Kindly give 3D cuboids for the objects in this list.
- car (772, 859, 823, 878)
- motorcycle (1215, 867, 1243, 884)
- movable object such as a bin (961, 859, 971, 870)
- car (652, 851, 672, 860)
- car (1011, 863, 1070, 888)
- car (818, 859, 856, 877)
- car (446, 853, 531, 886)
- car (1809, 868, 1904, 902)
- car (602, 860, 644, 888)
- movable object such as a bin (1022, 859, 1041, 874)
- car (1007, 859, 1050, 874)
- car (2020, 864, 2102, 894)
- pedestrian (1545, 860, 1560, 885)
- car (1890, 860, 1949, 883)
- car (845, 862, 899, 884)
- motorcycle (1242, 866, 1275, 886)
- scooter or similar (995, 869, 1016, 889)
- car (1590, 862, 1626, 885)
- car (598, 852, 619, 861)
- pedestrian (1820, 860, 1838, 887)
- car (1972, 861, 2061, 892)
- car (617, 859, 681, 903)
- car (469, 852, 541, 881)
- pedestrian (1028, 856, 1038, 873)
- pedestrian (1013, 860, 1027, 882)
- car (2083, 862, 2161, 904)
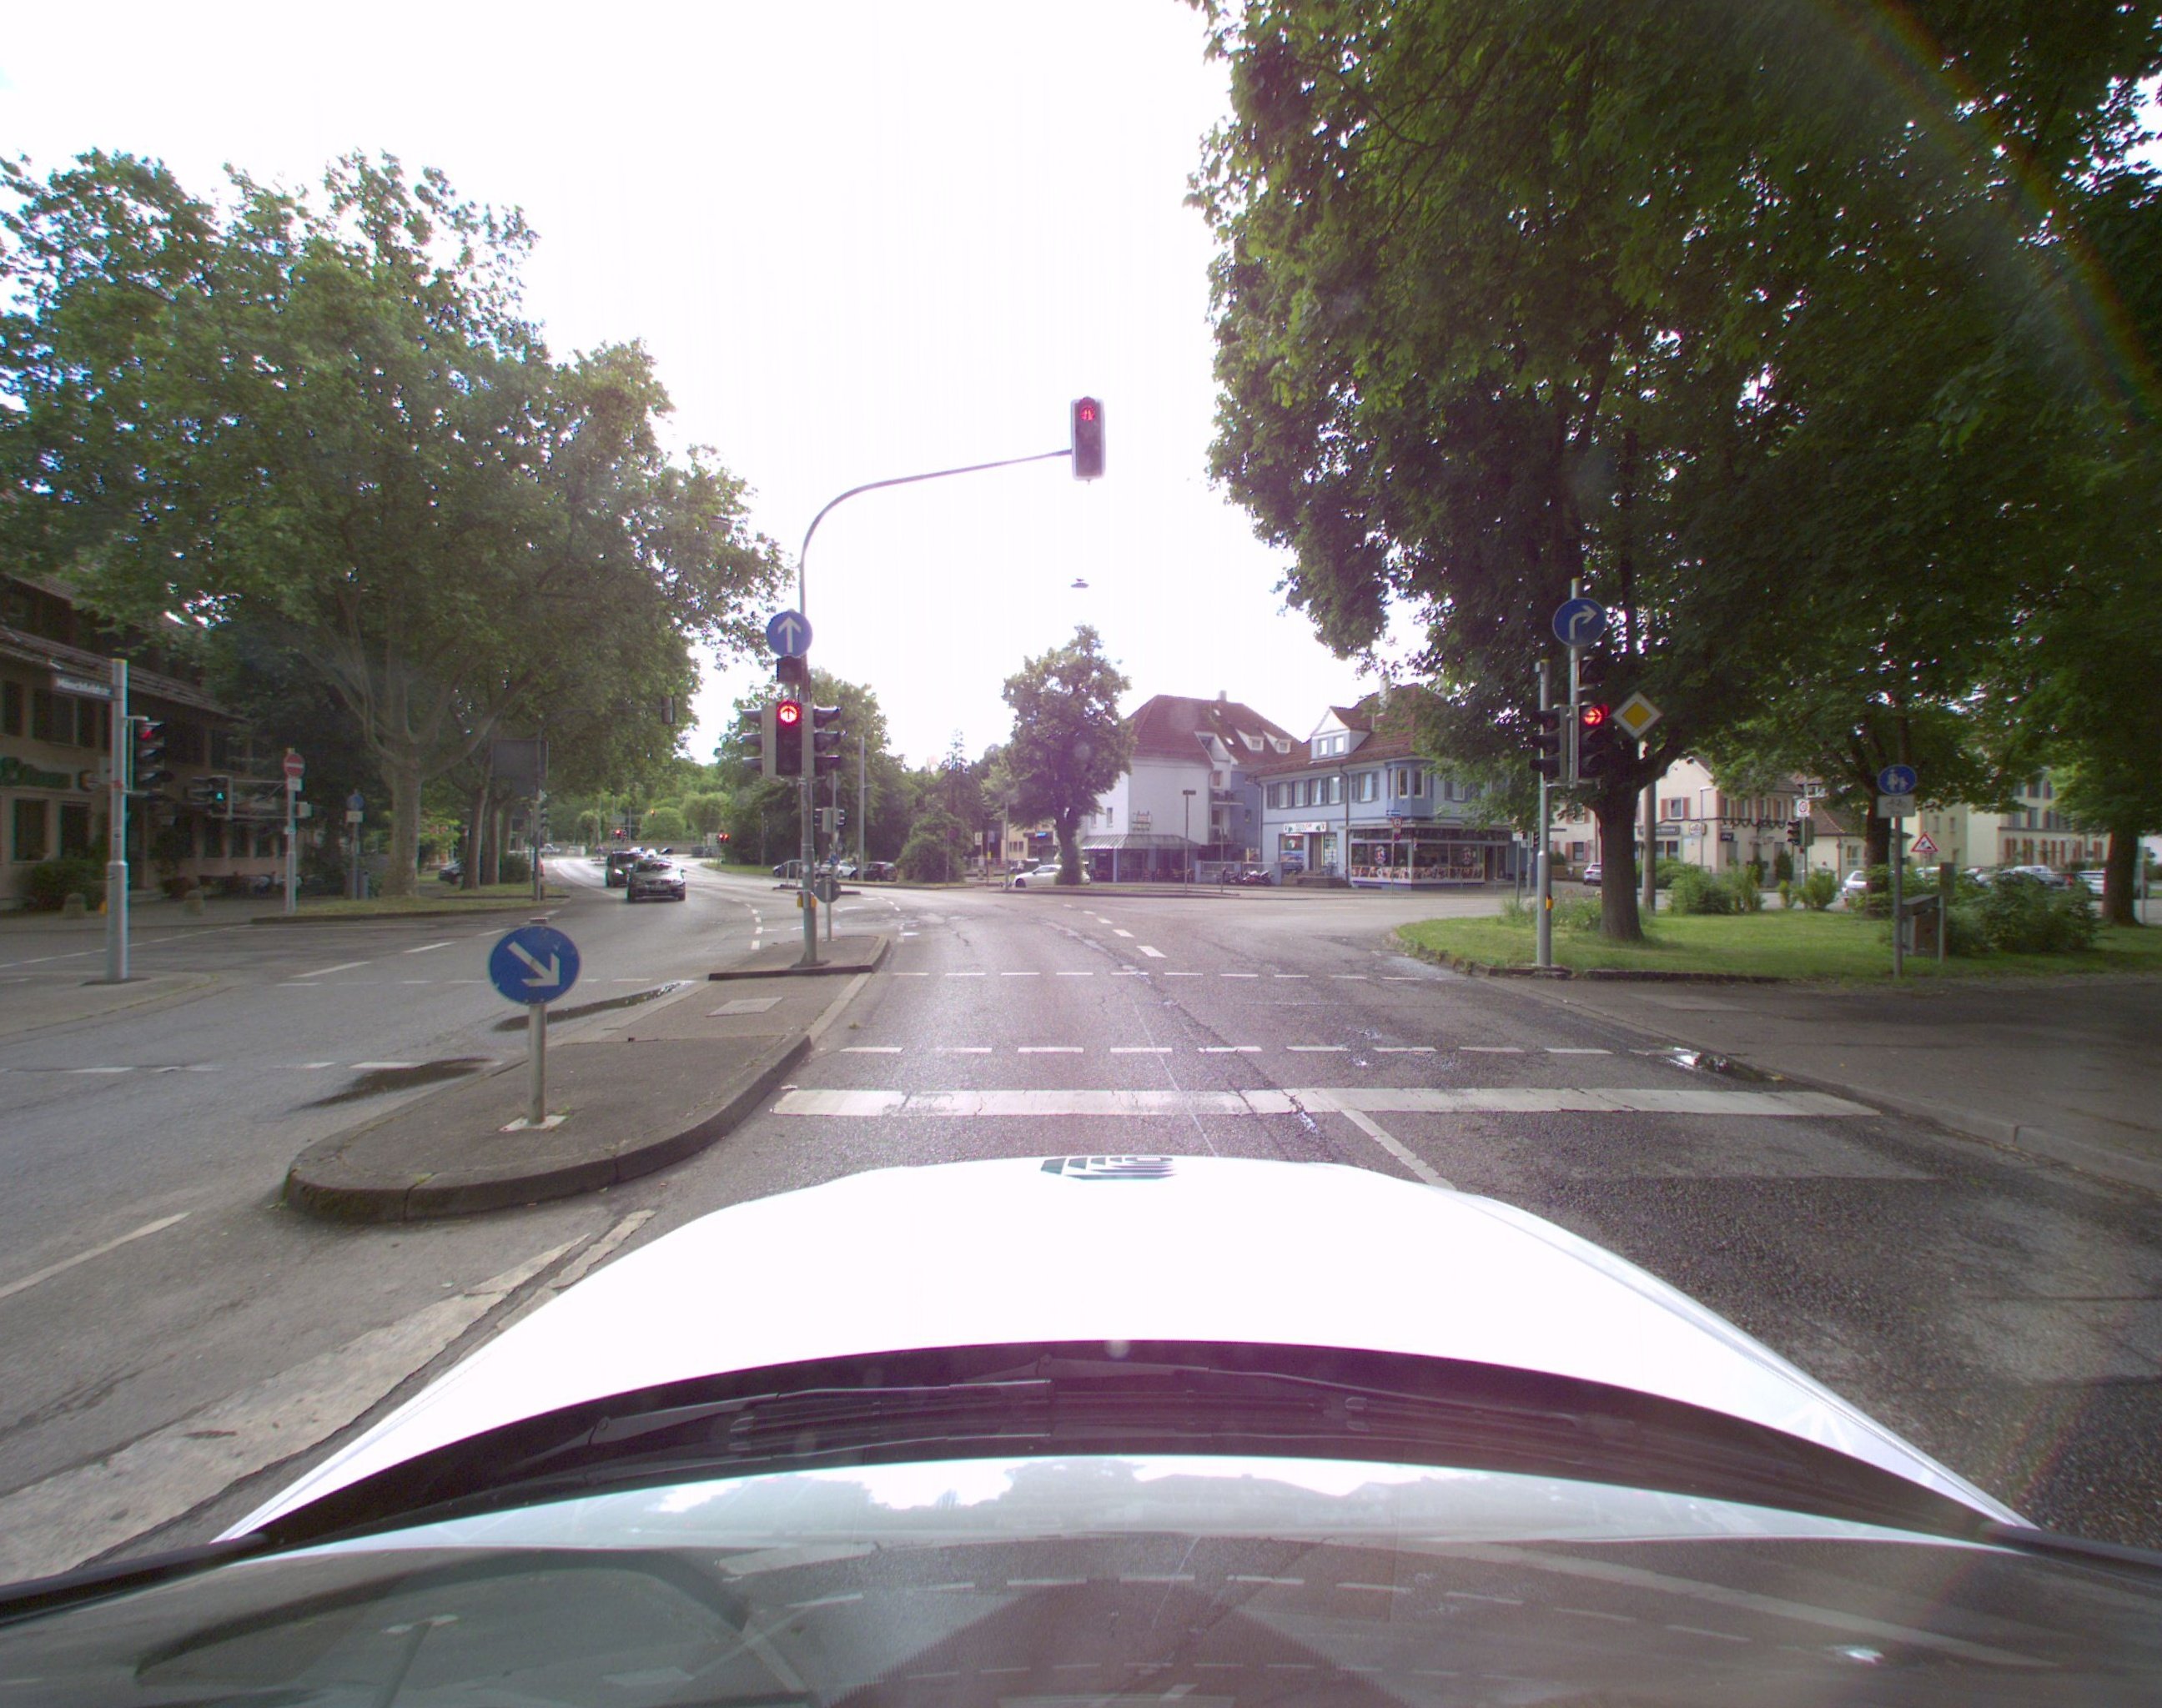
[{"bbox_3d":[-22.442,1.112,64.484,3.520,1.464,1.591,0,0,14],"label":"car"},{"bbox_3d":[9.110,1.315,50.077,0.699,1.064,1.617,0,-1,-44],"label":"motorcycle"},{"bbox_3d":[-12.225,1.118,86.639,0.953,1.115,0.381,0,-1,-19],"label":"movable object such as a bin"},{"bbox_3d":[-95.503,0.423,185.602,4.011,2.014,1.981,0,-1,-29],"label":"car"},{"bbox_3d":[-2.312,1.202,46.238,3.134,1.354,1.448,0,-1,36],"label":"car"},{"bbox_3d":[-20.084,1.129,67.186,1.534,1.464,3.407,0,0,13],"label":"car"},{"bbox_3d":[-31.005,0.782,42.717,3.461,1.641,1.557,0,-1,-31],"label":"car"},{"bbox_3d":[31.959,1.255,33.568,3.511,1.321,1.549,0,0,-22],"label":"car"},{"bbox_3d":[-23.770,1.025,42.265,1.440,1.416,2.838,0,-1,-39],"label":"car"},{"bbox_3d":[-4.527,1.132,74.248,1.447,1.409,0.959,0,-1,-25],"label":"movable object such as a bin"},{"bbox_3d":[-4.885,1.134,76.155,3.752,1.345,1.422,0,0,-25],"label":"car"},{"bbox_3d":[47.000,1.171,39.059,3.511,1.321,1.549,0,0,-22],"label":"car"},{"bbox_3d":[28.521,1.104,49.268,0.586,1.517,0.457,0,-1,-12],"label":"pedestrian"},{"bbox_3d":[55.112,1.131,53.530,4.007,1.420,1.544,0,0,-26],"label":"car"},{"bbox_3d":[-13.911,1.265,54.205,3.549,1.394,1.481,0,-1,34],"label":"car"},{"bbox_3d":[10.531,1.289,48.263,1.777,1.121,0.699,0,-1,40],"label":"motorcycle"},{"bbox_3d":[-3.981,1.290,42.881,0.413,1.011,1.575,-1,-1,22],"label":"scooter or similar"},{"bbox_3d":[32.599,1.187,50.340,1.481,1.369,3.198,-1,-1,40],"label":"car"},{"bbox_3d":[-106.182,0.480,183.026,4.011,2.014,1.981,0,-1,-29],"label":"car"},{"bbox_3d":[46.173,1.171,50.263,0.611,1.649,0.606,0,-1,-27],"label":"pedestrian"},{"bbox_3d":[42.212,0.980,36.752,3.510,1.321,1.549,0,0,-21],"label":"car"},{"bbox_3d":[-15.047,0.918,28.347,1.440,1.416,2.838,0,-1,-39],"label":"car"},{"bbox_3d":[-35.488,0.754,50.282,3.461,1.742,1.557,0,-1,-31],"label":"car"},{"bbox_3d":[-4.431,0.930,75.241,0.709,1.545,0.673,0,-1,-25],"label":"pedestrian"},{"bbox_3d":[-4.419,1.209,58.814,0.759,1.545,0.682,-1,-1,41],"label":"pedestrian"},{"bbox_3d":[52.827,1.440,41.126,4.004,2.014,1.770,0,-1,-23],"label":"car"}]
